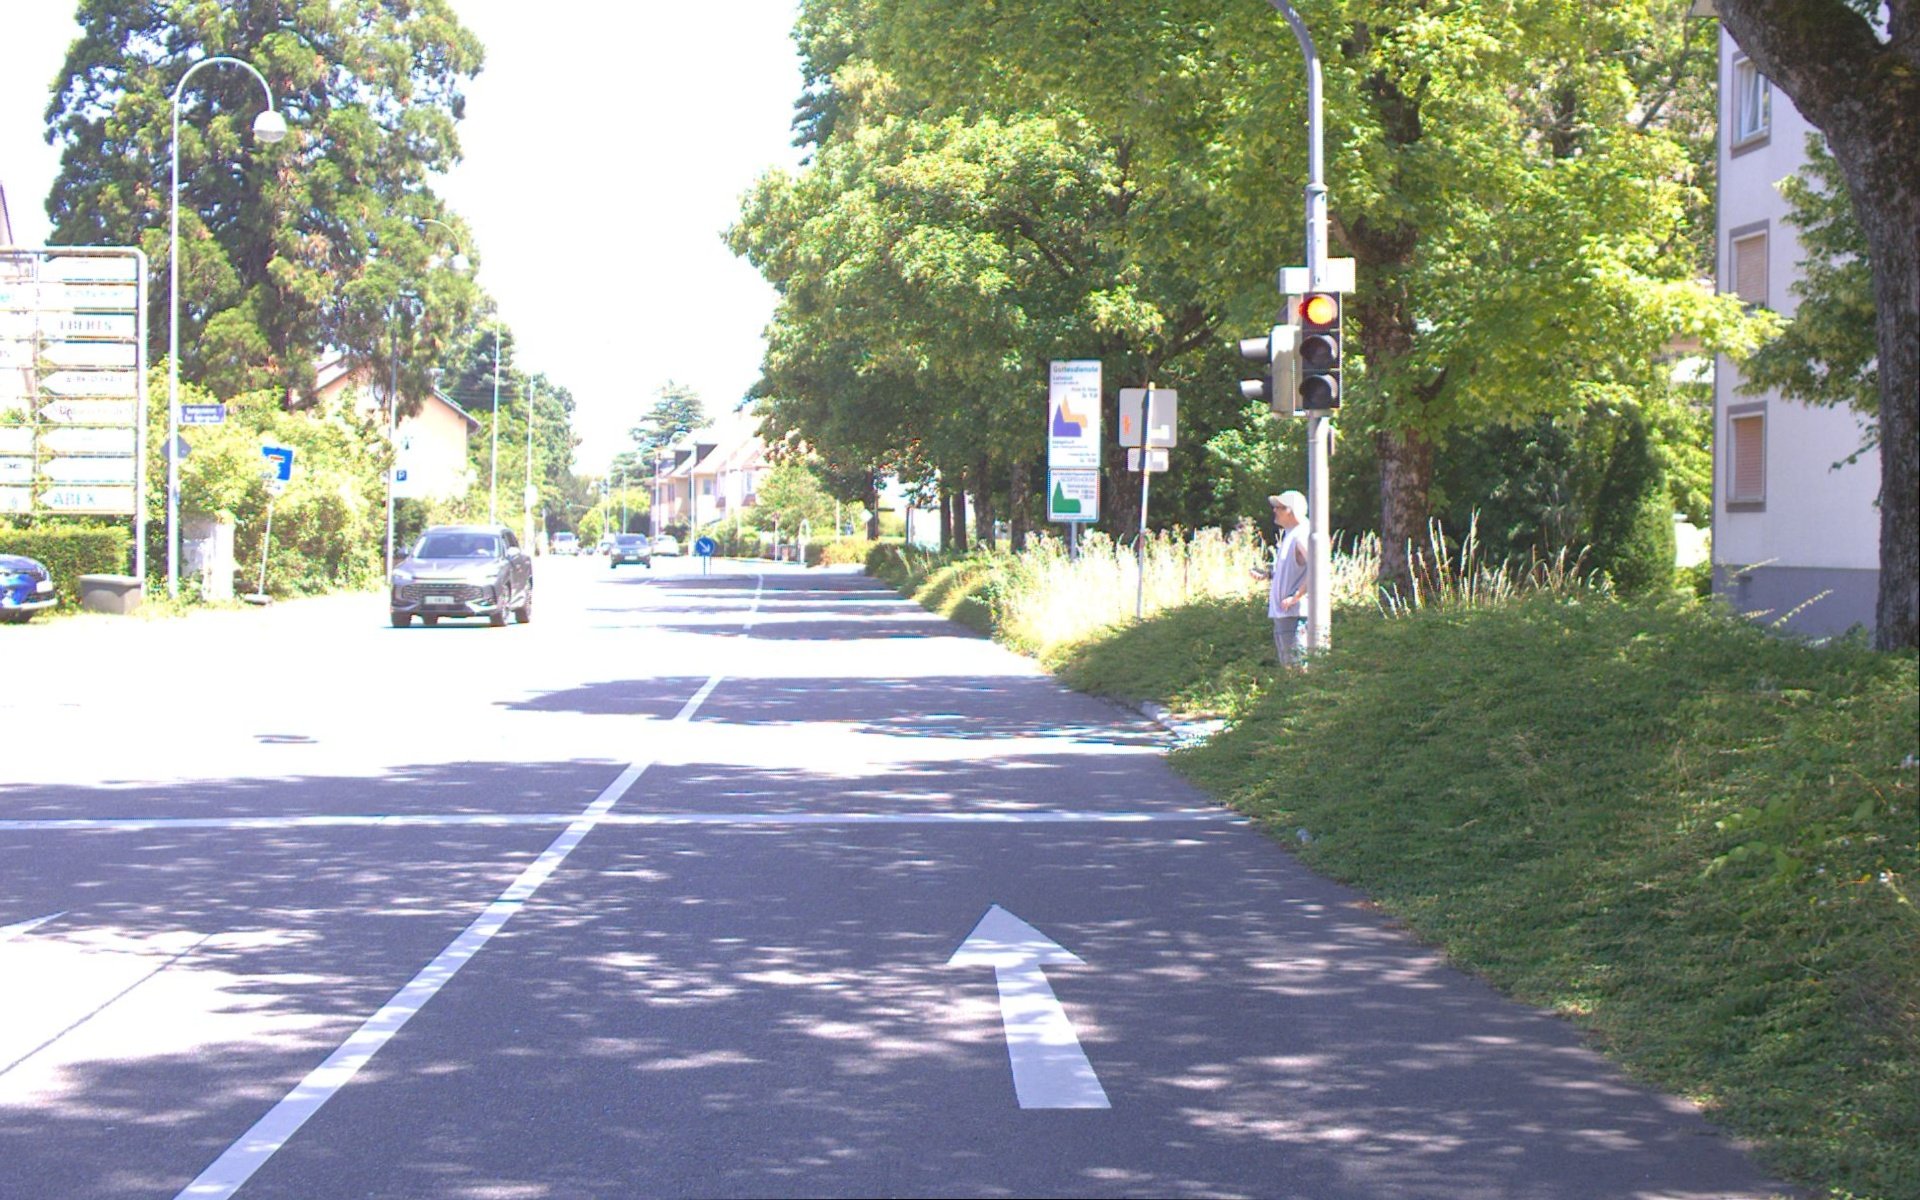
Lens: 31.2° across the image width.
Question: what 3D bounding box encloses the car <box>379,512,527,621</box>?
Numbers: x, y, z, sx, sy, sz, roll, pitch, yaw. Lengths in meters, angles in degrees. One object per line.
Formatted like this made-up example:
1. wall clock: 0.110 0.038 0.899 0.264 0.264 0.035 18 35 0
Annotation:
1. car: -8.303 -0.576 56.624 1.879 1.712 4.310 0 1 -1

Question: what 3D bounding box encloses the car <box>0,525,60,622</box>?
1. car: -15.496 -0.430 51.636 3.491 1.422 1.600 1 1 6

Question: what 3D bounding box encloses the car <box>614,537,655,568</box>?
1. car: -14.129 -2.046 149.301 1.431 1.318 3.355 1 1 0

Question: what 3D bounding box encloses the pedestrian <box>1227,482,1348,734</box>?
1. pedestrian: 2.307 0.051 24.201 0.560 1.745 0.615 0 1 -38
